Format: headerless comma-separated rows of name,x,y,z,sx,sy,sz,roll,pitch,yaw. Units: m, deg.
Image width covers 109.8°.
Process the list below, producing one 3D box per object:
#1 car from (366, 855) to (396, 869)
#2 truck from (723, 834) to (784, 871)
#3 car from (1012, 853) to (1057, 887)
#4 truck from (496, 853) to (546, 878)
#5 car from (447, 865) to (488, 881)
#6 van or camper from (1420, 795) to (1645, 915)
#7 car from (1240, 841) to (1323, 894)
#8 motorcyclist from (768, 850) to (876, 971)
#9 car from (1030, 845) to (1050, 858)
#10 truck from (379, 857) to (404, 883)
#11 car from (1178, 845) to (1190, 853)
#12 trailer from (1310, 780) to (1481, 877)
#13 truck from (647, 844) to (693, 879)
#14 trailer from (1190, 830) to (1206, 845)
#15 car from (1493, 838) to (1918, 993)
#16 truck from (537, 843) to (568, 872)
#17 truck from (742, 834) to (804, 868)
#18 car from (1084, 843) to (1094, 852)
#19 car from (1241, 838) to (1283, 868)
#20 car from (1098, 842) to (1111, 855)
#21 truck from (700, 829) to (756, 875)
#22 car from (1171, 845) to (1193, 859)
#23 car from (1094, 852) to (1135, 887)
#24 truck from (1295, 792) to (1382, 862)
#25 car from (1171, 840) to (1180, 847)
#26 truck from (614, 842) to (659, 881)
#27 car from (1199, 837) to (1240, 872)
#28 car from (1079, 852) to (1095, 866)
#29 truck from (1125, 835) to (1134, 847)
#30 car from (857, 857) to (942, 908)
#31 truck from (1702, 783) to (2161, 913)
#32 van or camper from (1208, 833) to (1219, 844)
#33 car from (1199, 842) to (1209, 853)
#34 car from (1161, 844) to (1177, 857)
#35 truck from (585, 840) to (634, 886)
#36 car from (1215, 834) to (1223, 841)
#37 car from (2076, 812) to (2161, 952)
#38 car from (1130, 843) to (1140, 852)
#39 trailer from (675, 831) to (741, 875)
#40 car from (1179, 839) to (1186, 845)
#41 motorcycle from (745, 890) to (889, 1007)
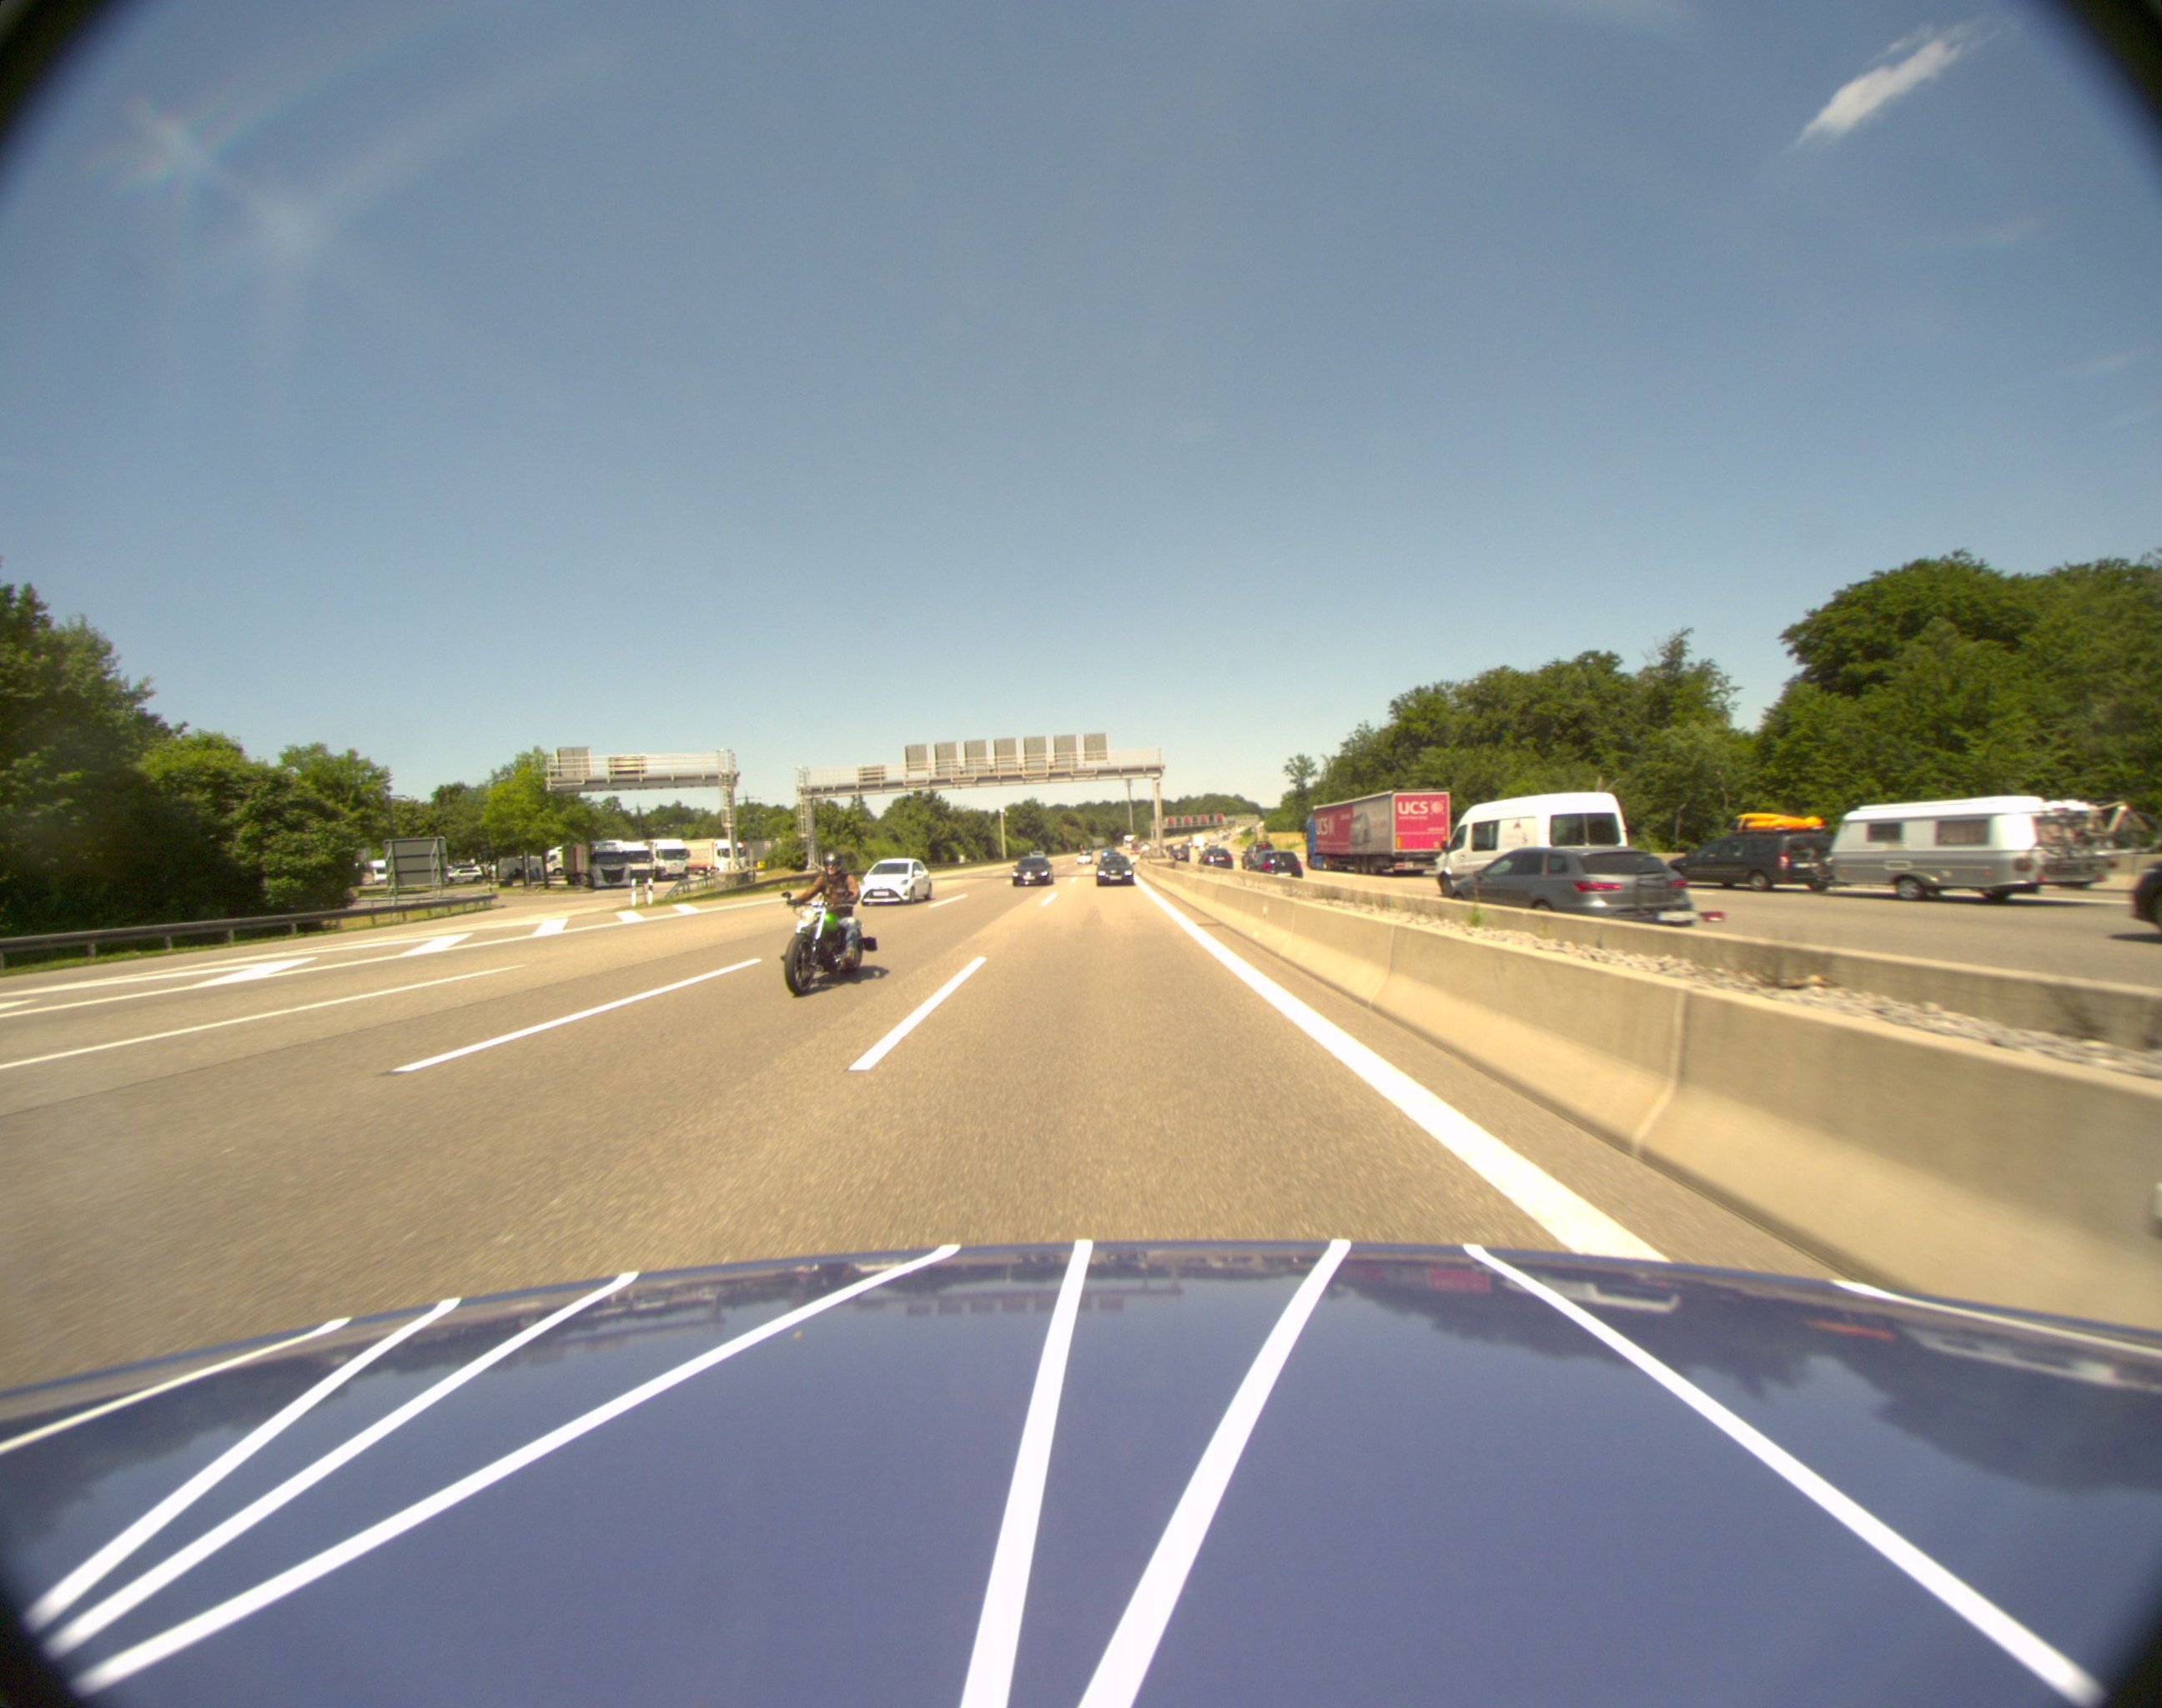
car,-112.849,1.321,122.525,2.001,2.003,3.992,-4,3,-19
truck,-42.399,-0.164,98.040,2.836,4.435,12.027,-5,3,-44
car,-2.276,0.743,38.015,1.760,1.431,3.999,-2,2,3
truck,-67.153,1.317,91.099,4.451,2.630,2.111,-5,3,-42
car,-70.309,2.190,87.118,1.559,1.529,3.199,-1,3,29
van or camper,11.245,-0.015,19.711,2.105,2.551,6.399,-2,1,1
car,7.859,0.457,30.338,1.998,1.714,5.194,-3,2,2
motorcyclist,-3.213,0.671,9.519,0.854,1.419,1.024,-1,1,11
car,-5.566,-0.359,102.579,1.997,1.521,4.000,-2,2,7
truck,-85.495,1.951,94.243,2.003,2.978,6.362,-5,3,-41
car,19.849,-0.942,146.519,1.758,1.625,4.639,-2,0,3
trailer,16.399,-1.209,41.549,3.844,4.255,14.477,-2,0,3
truck,-41.057,0.706,75.793,2.458,3.108,9.003,-5,3,-37
trailer,33.496,-4.730,217.931,2.871,4.238,13.958,-1,1,2
car,7.648,0.587,10.124,1.774,1.501,4.823,-3,1,2
truck,-73.780,0.468,106.052,2.461,3.800,8.789,-5,3,-40
truck,-43.173,-0.341,106.113,2.837,4.434,14.602,-2,1,-43
car,1.851,-1.501,172.286,1.998,2.003,3.999,-3,2,2
car,12.700,-0.069,53.602,1.998,1.955,4.784,-2,1,3
car,4.027,-0.947,130.943,1.998,2.003,3.999,-3,2,3
truck,-38.881,-0.203,83.557,3.272,4.698,7.169,-5,3,-43
car,11.554,-0.239,87.237,1.961,1.509,5.133,-2,0,3
car,1.613,0.697,36.040,1.769,1.496,4.001,-3,0,3
truck,16.786,-1.718,50.095,3.795,4.153,5.878,-3,1,2
car,23.554,-2.522,189.187,1.998,1.658,4.435,-2,1,5
truck,-42.932,0.627,73.197,2.458,3.411,9.003,-5,3,-37
car,8.997,-0.014,49.707,1.998,2.003,3.998,-3,2,1
car,0.723,0.592,92.903,1.729,1.521,3.741,-4,2,2
truck,14.979,-4.085,234.805,2.434,3.458,7.022,-3,2,6
car,-6.173,0.918,26.337,1.754,1.510,4.484,-2,0,1
truck,18.969,-0.208,17.803,2.051,2.241,8.823,-3,1,4
van or camper,40.082,-4.771,229.613,2.770,3.108,8.095,-2,2,7
car,26.532,-1.438,163.959,1.997,2.003,4.000,-2,2,8
car,11.704,-0.533,100.979,1.858,1.510,4.520,-2,3,3
truck,-39.797,0.724,64.060,2.498,3.591,6.308,-5,3,-39
car,43.584,-5.148,240.810,1.998,2.003,3.999,-3,2,4
car,14.518,0.343,7.813,1.998,1.752,5.068,-2,1,1
car,11.953,-1.408,167.415,1.998,2.002,4.001,-3,0,3
trailer,-43.626,-0.131,88.658,3.287,4.682,12.024,-5,3,-43
car,28.348,-3.401,211.946,1.765,1.512,4.361,-3,2,5
motorcycle,-3.218,1.100,9.568,0.536,1.129,2.438,-1,1,11
